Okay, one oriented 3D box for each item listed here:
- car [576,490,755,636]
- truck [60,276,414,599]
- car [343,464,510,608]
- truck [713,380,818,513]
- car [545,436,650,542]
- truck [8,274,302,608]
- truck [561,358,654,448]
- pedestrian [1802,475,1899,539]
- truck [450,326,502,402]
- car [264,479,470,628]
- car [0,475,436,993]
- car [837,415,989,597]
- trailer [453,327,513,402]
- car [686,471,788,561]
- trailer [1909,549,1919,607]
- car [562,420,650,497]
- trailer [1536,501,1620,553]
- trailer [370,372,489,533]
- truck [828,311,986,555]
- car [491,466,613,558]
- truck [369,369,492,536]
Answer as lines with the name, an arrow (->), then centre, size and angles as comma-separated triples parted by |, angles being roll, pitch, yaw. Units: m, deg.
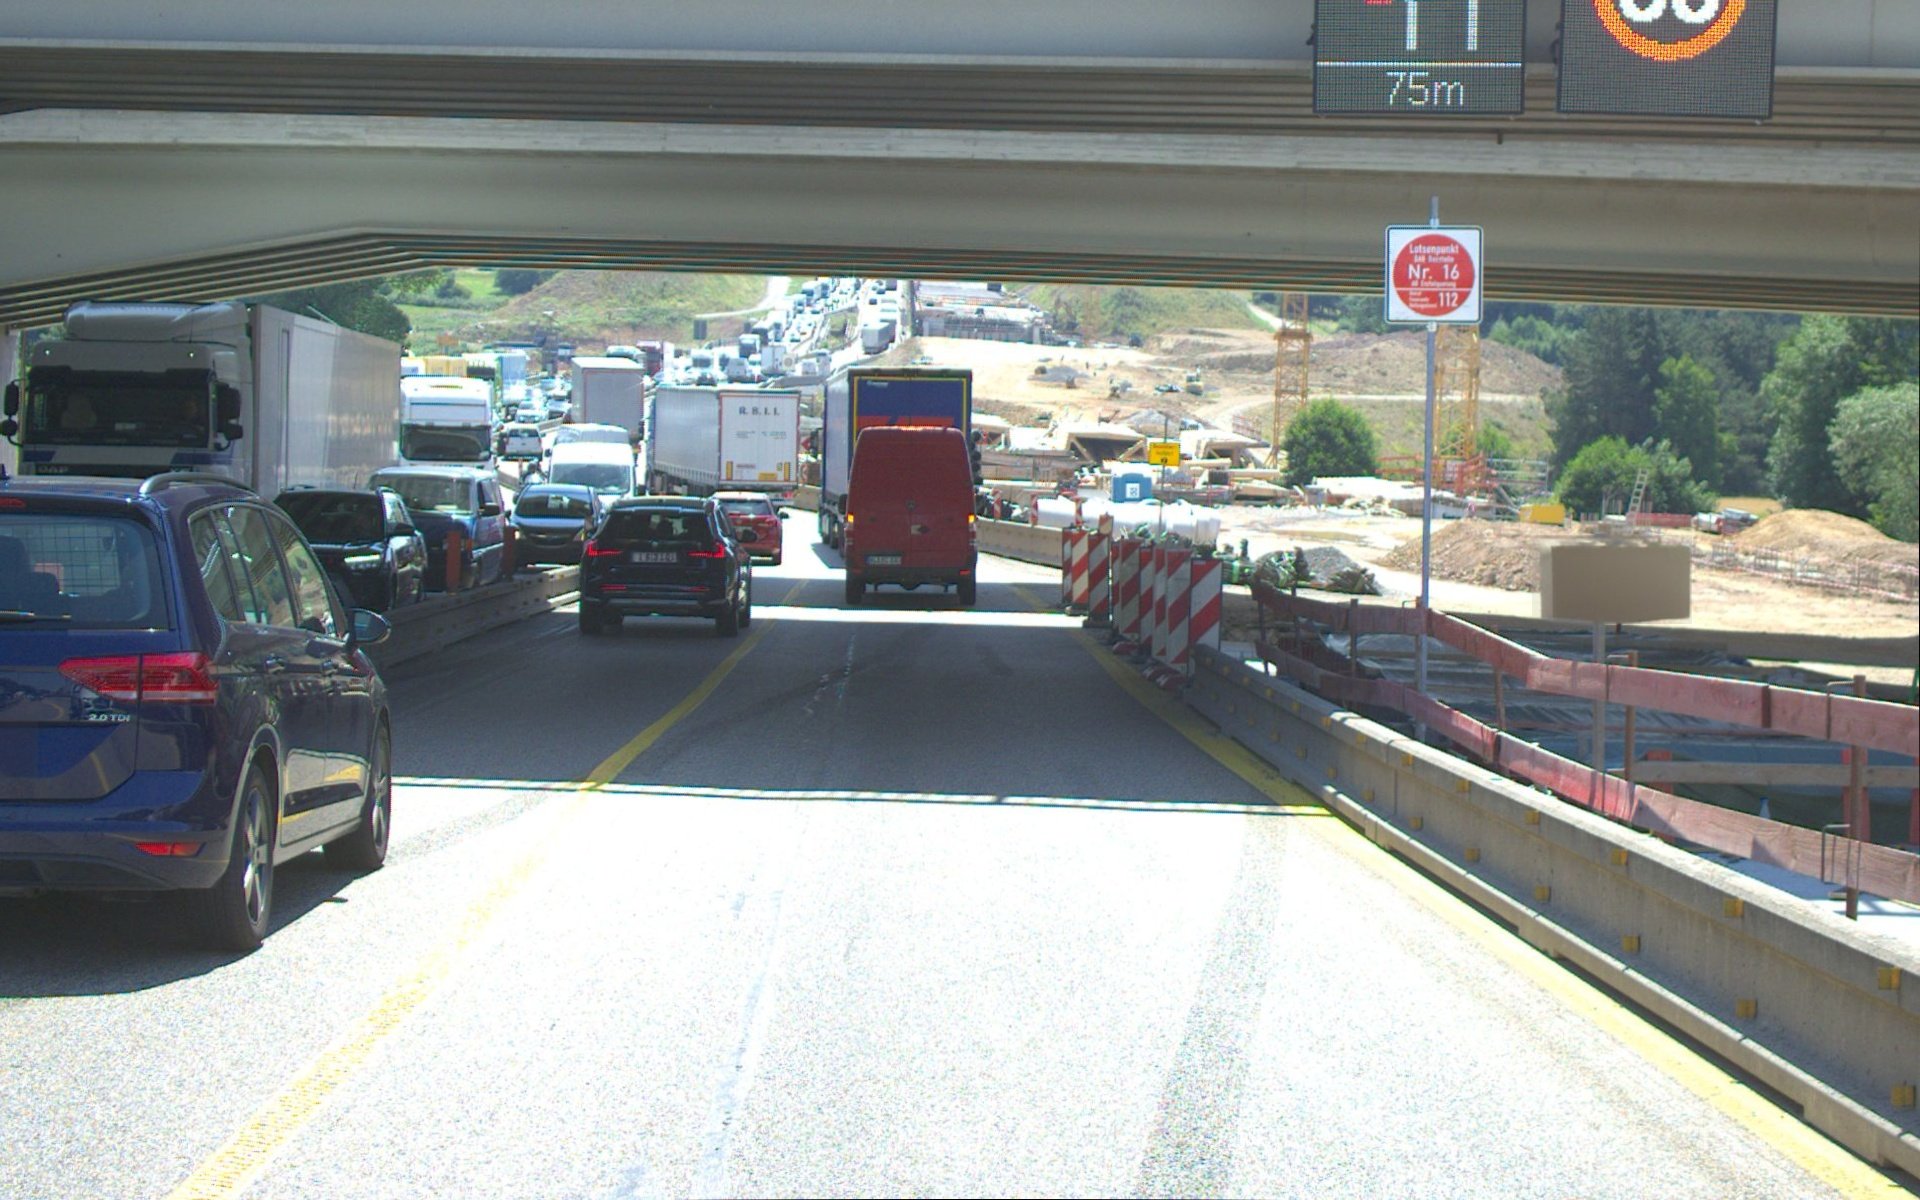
car -> -3.482, -0.477, 41.298 | 1.833, 1.630, 4.390 | 1, 1, -1
truck -> -10.832, -2.256, 53.172 | 2.769, 4.298, 13.491 | 1, 1, -1
car -> -7.568, -0.944, 49.172 | 1.799, 1.926, 4.969 | 1, 2, -3
truck -> -6.173, -4.960, 109.734 | 3.181, 3.975, 6.744 | 1, 4, -3
car -> -8.348, -2.556, 79.644 | 1.980, 2.322, 6.059 | 1, 2, -2
truck -> -10.658, -2.031, 45.977 | 2.659, 4.156, 5.187 | 1, 0, 0
truck -> -15.164, -8.389, 147.364 | 3.218, 3.349, 8.943 | 1, 1, -10
pedestrian -> 29.162, -3.030, 112.664 | 1.993, 2.007, 4.000 | 1, 1, -2
truck -> -28.293, -13.787, 201.159 | 2.625, 4.255, 4.734 | 2, 3, -5
car -> -7.068, -0.609, 41.357 | 1.722, 1.604, 4.524 | 2, 2, -1
car -> -3.231, 0.371, 13.105 | 1.734, 1.630, 4.390 | 1, 1, 0
car -> -0.689, -1.399, 52.754 | 2.150, 2.602, 5.439 | 1, 0, 0
trailer -> -28.834, -14.216, 208.227 | 2.647, 4.277, 13.313 | 2, 3, -4
car -> -4.603, -1.735, 71.409 | 1.833, 1.771, 4.390 | 1, 1, -1
trailer -> 22.381, -0.399, 71.442 | 4.713, 1.215, 2.056 | 1, 0, -1
car -> -12.022, -4.815, 116.441 | 2.264, 2.346, 5.162 | 1, 4, -13
trailer -> 19.336, -2.301, 107.675 | 1.623, 1.481, 3.827 | 2, 2, -4
trailer -> -14.869, -4.132, 95.735 | 2.876, 4.025, 14.364 | 3, 2, -10
truck -> -1.223, -3.662, 73.990 | 2.944, 4.927, 6.744 | 1, 4, -4
car -> -7.538, -1.639, 63.775 | 1.748, 1.604, 4.142 | 1, 2, 0
truck -> -13.649, -3.804, 88.495 | 2.873, 4.037, 4.887 | 3, 2, -9
